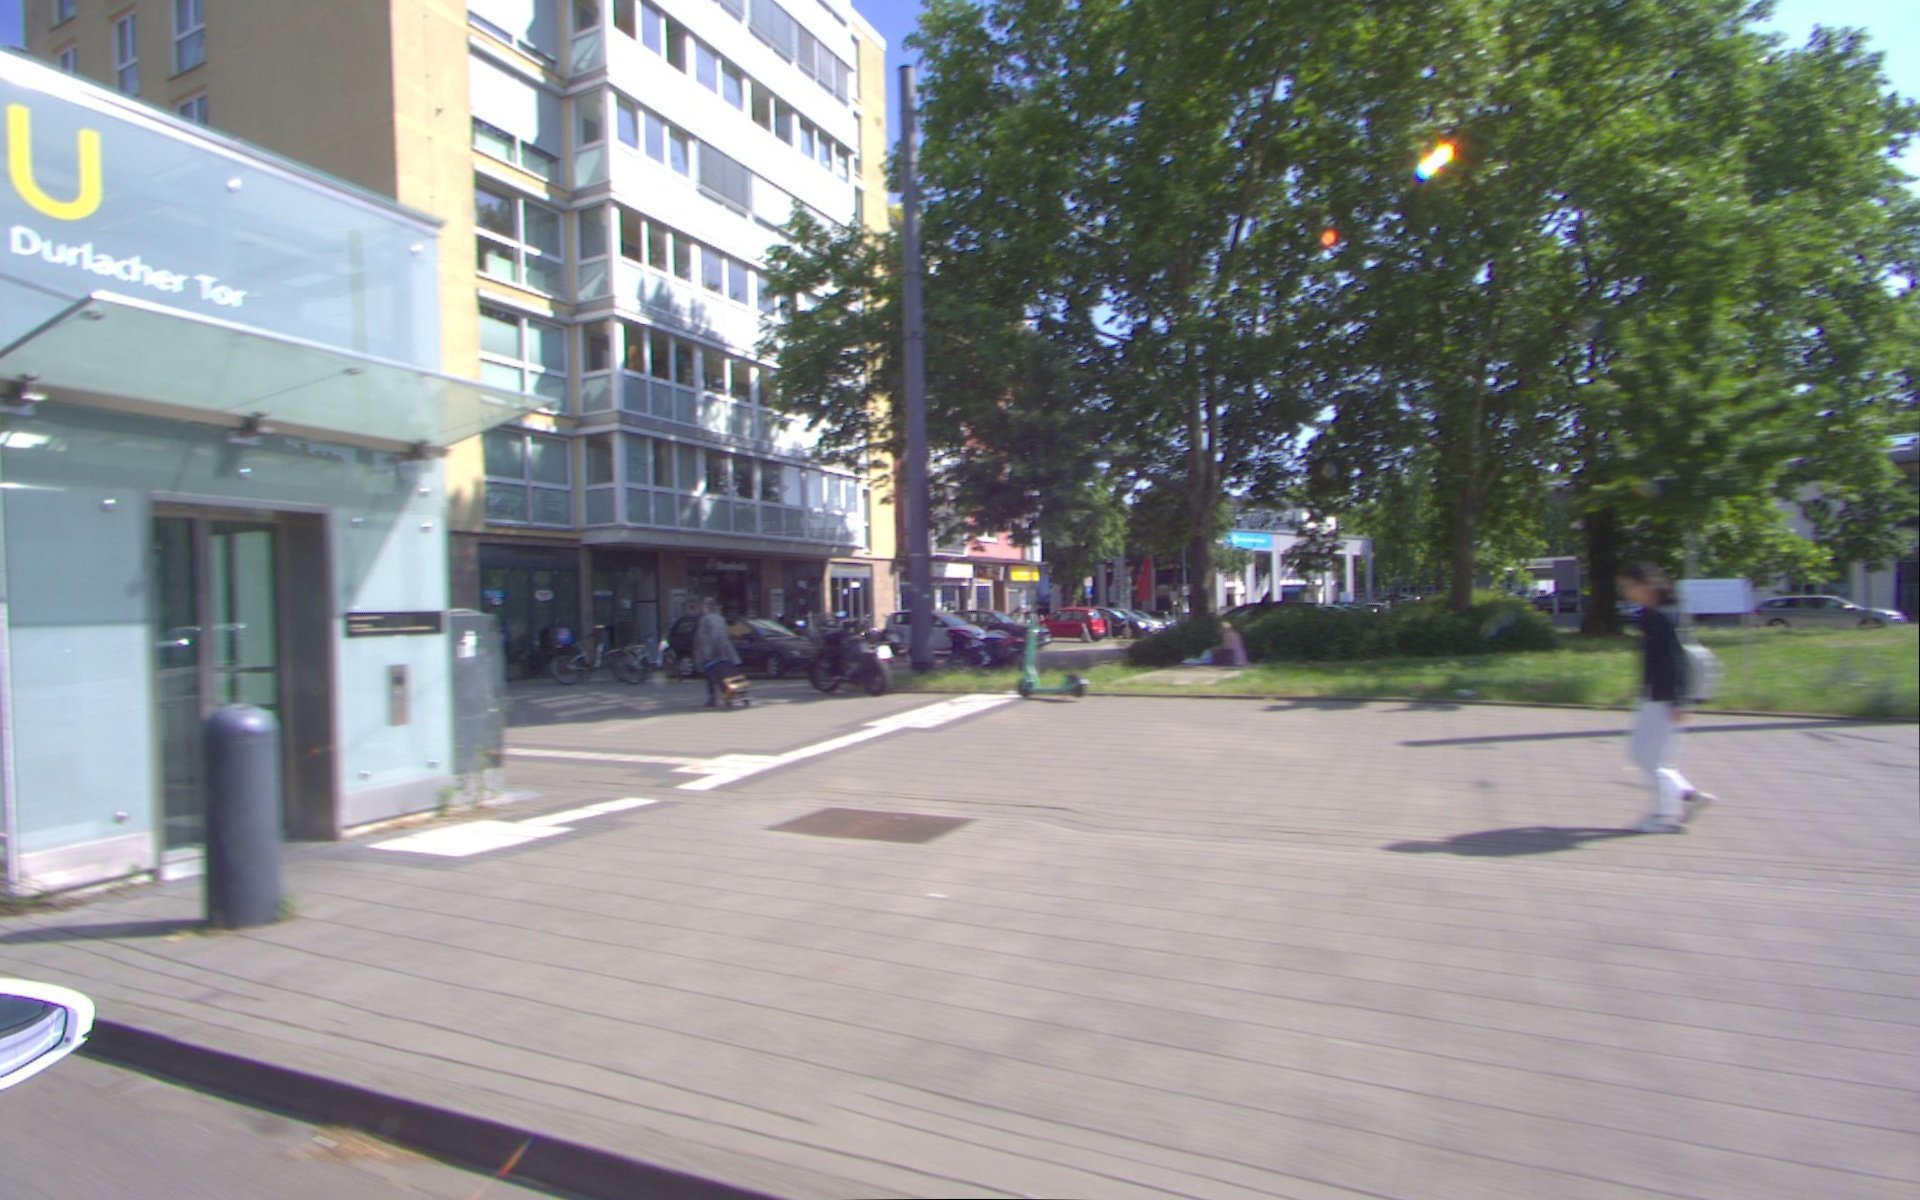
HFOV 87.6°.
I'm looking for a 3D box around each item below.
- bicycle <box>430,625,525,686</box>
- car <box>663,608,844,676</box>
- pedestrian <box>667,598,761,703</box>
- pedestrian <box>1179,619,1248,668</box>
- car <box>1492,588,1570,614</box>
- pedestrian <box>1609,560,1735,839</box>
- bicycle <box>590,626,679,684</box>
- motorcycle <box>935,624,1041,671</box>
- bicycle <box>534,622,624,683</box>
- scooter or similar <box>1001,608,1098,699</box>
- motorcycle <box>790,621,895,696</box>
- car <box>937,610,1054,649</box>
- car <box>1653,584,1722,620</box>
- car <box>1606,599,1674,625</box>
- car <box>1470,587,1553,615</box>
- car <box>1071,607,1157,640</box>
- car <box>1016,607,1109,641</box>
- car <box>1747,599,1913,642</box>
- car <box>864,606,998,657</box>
[{"bbox_3d":[-10.379,1.169,21.612,0.533,1.202,1.881,-1,0,28],"label":"bicycle"},{"bbox_3d":[-4.856,1.000,23.483,4.029,1.489,1.654,-1,-3,28],"label":"car"},{"bbox_3d":[-3.491,0.725,14.207,1.099,1.421,0.655,-3,-2,24],"label":"pedestrian"},{"bbox_3d":[4.880,0.831,19.250,1.157,0.904,0.820,-1,0,25],"label":"pedestrian"},{"bbox_3d":[36.342,0.056,63.764,3.956,1.528,1.982,-1,0,43],"label":"car"},{"bbox_3d":[4.301,0.581,6.068,0.445,1.627,0.400,1,1,8],"label":"pedestrian"},{"bbox_3d":[-6.835,1.141,21.083,0.576,1.100,1.744,-1,1,37],"label":"bicycle"},{"bbox_3d":[0.544,0.929,19.872,2.000,0.853,0.640,-1,0,-13],"label":"motorcycle"},{"bbox_3d":[-8.103,1.100,21.346,0.576,1.235,1.745,-1,-1,37],"label":"bicycle"},{"bbox_3d":[1.176,0.686,13.358,0.510,1.134,1.354,-2,0,-36],"label":"scooter or similar"},{"bbox_3d":[-1.840,0.864,15.431,0.633,1.076,2.022,-2,0,-38],"label":"motorcycle"},{"bbox_3d":[1.293,1.042,36.592,3.936,1.287,1.737,1,1,28],"label":"car"},{"bbox_3d":[36.744,0.085,50.533,3.958,1.706,1.981,0,1,-42],"label":"car"},{"bbox_3d":[35.084,0.600,51.631,3.957,1.261,1.981,0,1,-42],"label":"car"},{"bbox_3d":[32.721,0.093,59.484,3.956,1.572,1.982,-1,0,43],"label":"car"},{"bbox_3d":[7.343,1.105,47.807,3.676,1.418,1.737,1,1,27],"label":"car"},{"bbox_3d":[4.493,1.029,43.915,3.676,1.358,1.737,1,1,27],"label":"car"},{"bbox_3d":[33.017,0.744,38.115,1.952,1.455,4.556,0,1,-42],"label":"car"},{"bbox_3d":[-0.953,0.985,32.680,3.936,1.459,1.883,1,1,27],"label":"car"}]
